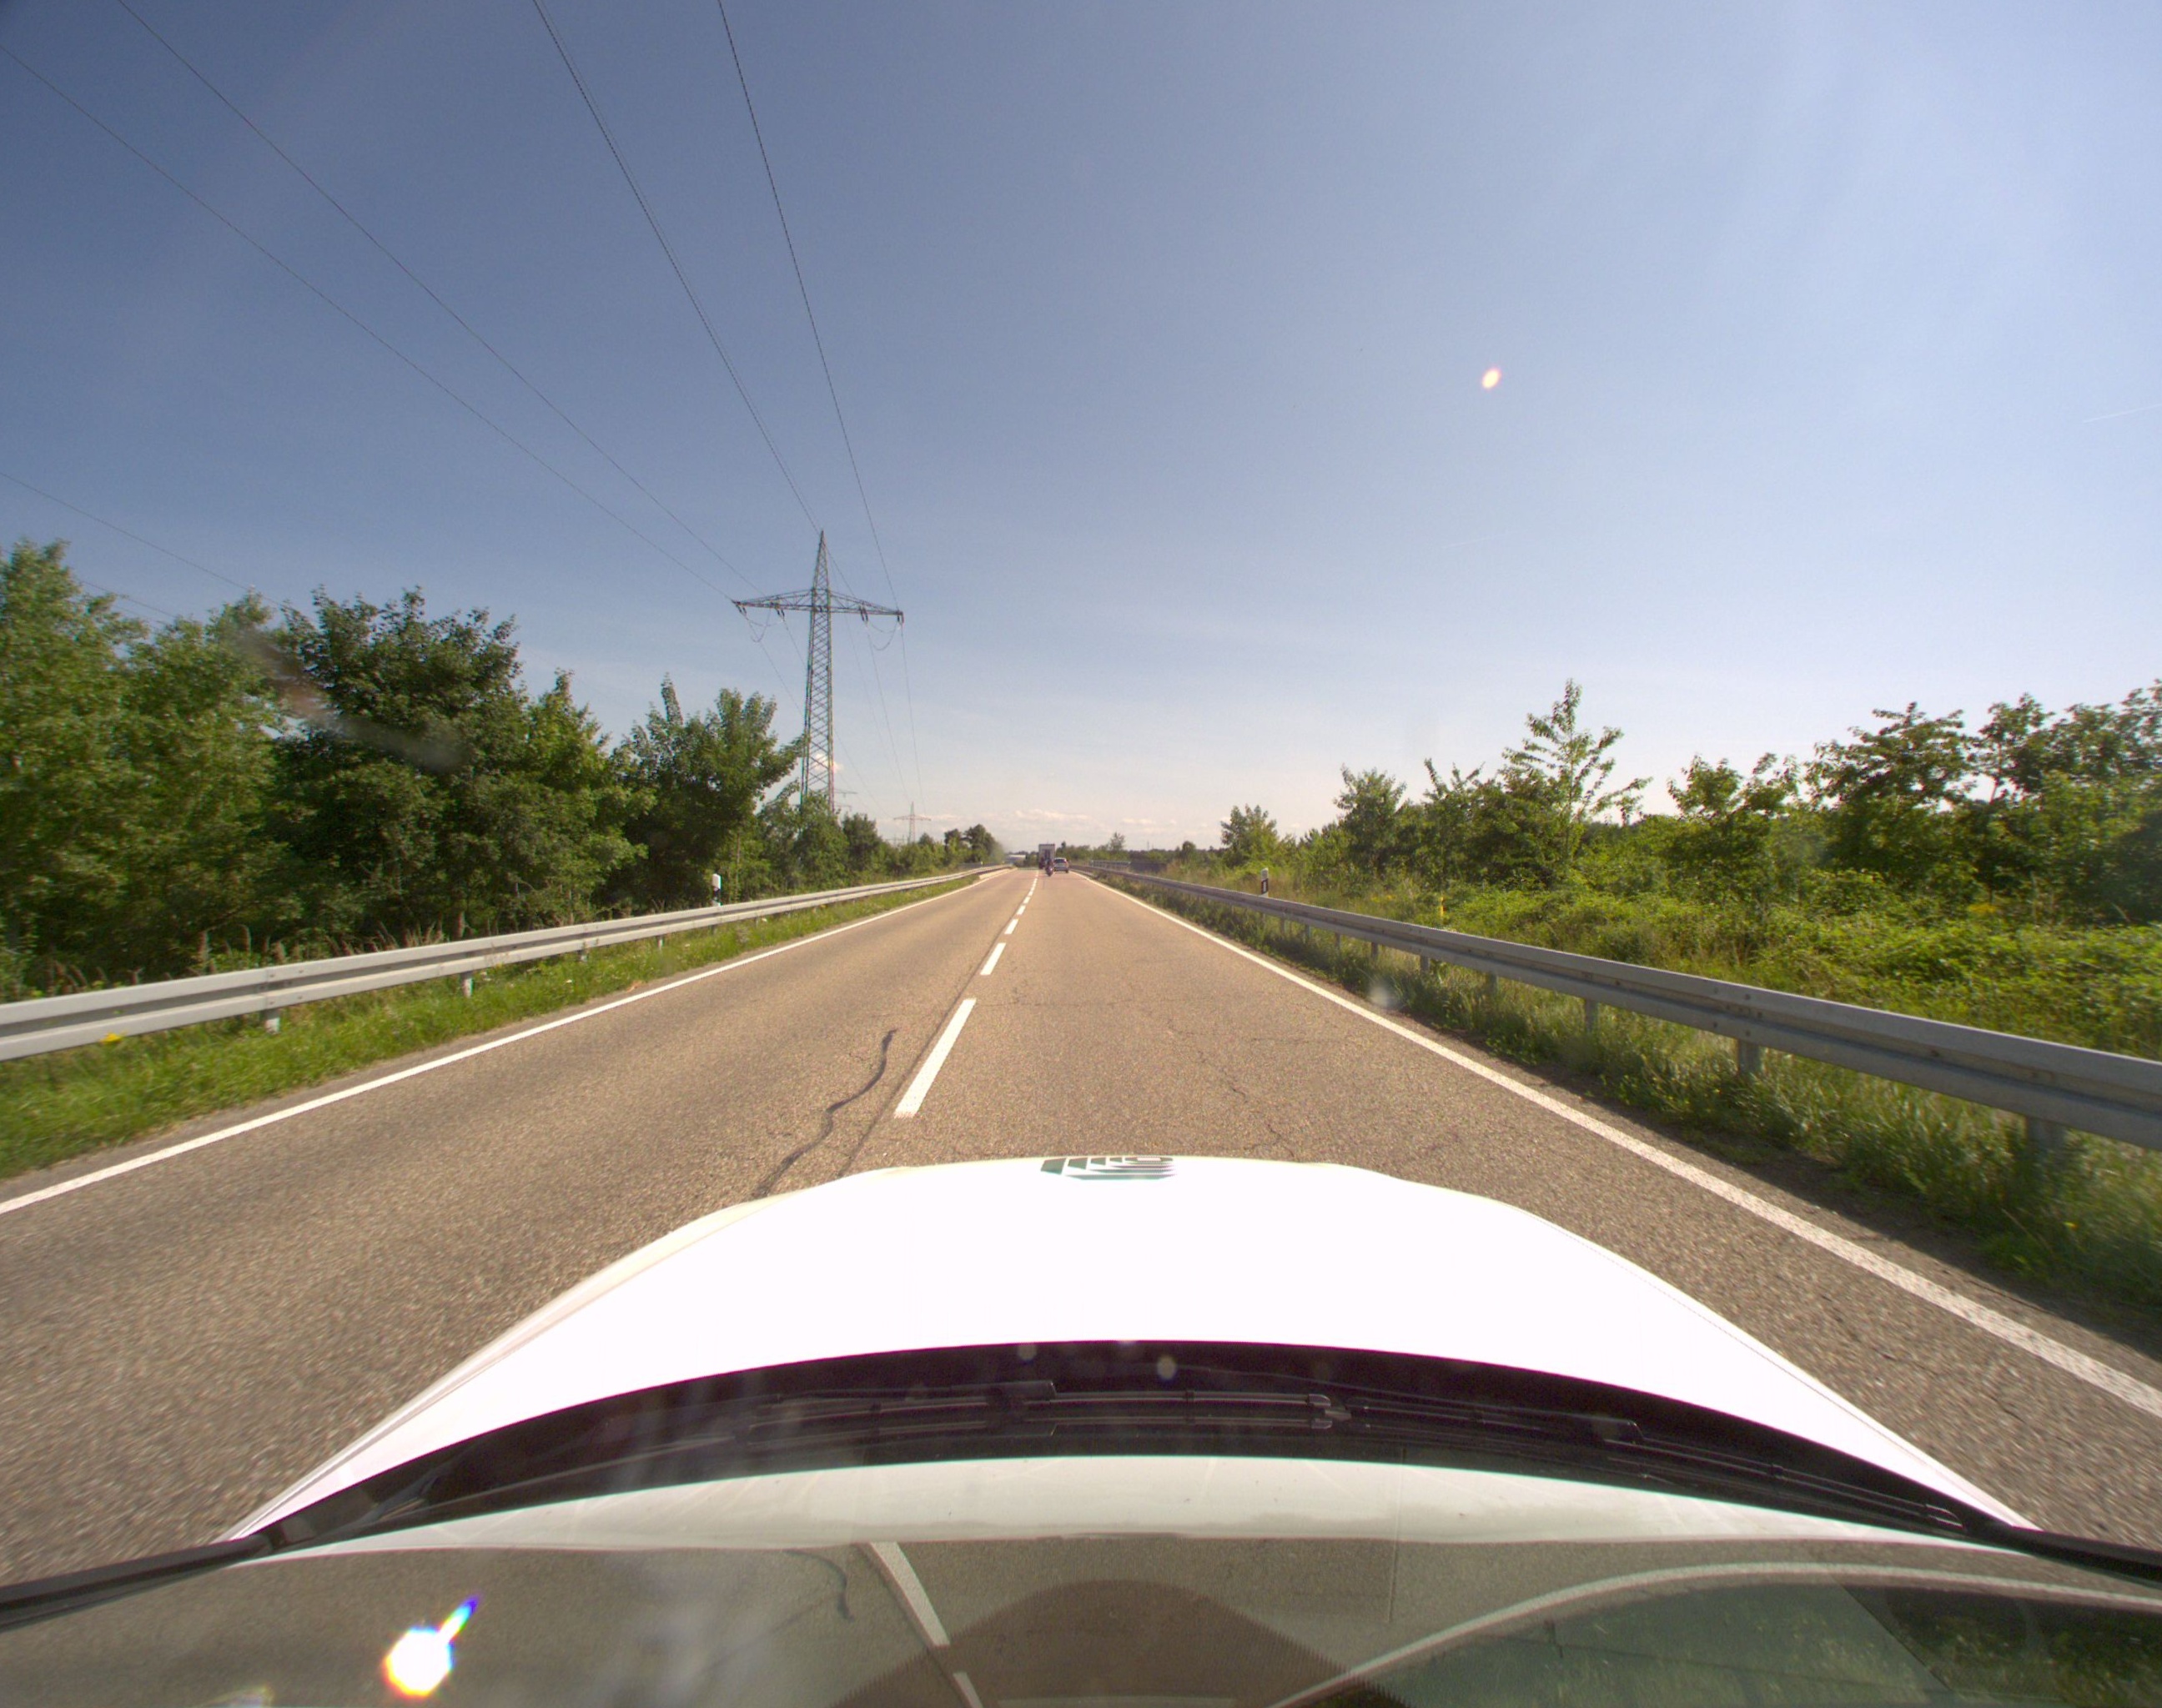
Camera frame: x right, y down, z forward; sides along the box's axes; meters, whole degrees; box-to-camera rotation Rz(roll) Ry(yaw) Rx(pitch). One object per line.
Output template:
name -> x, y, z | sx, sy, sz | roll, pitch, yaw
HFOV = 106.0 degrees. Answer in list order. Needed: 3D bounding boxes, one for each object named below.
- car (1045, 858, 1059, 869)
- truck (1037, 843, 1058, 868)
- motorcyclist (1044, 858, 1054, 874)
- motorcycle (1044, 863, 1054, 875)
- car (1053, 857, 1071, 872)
car -> -3.913, 1.203, 109.237 | 1.861, 1.420, 3.997 | 0, 0, -2
truck -> -5.482, 0.220, 134.646 | 3.234, 3.979, 9.435 | -1, 0, -2
motorcyclist -> -2.716, 0.971, 68.550 | 0.778, 1.325, 0.812 | -1, 0, -2
motorcycle -> -2.723, 1.236, 68.529 | 0.778, 0.975, 2.360 | -1, 0, -1
car -> -2.002, 1.039, 84.506 | 1.821, 1.451, 3.997 | -1, 0, -2
